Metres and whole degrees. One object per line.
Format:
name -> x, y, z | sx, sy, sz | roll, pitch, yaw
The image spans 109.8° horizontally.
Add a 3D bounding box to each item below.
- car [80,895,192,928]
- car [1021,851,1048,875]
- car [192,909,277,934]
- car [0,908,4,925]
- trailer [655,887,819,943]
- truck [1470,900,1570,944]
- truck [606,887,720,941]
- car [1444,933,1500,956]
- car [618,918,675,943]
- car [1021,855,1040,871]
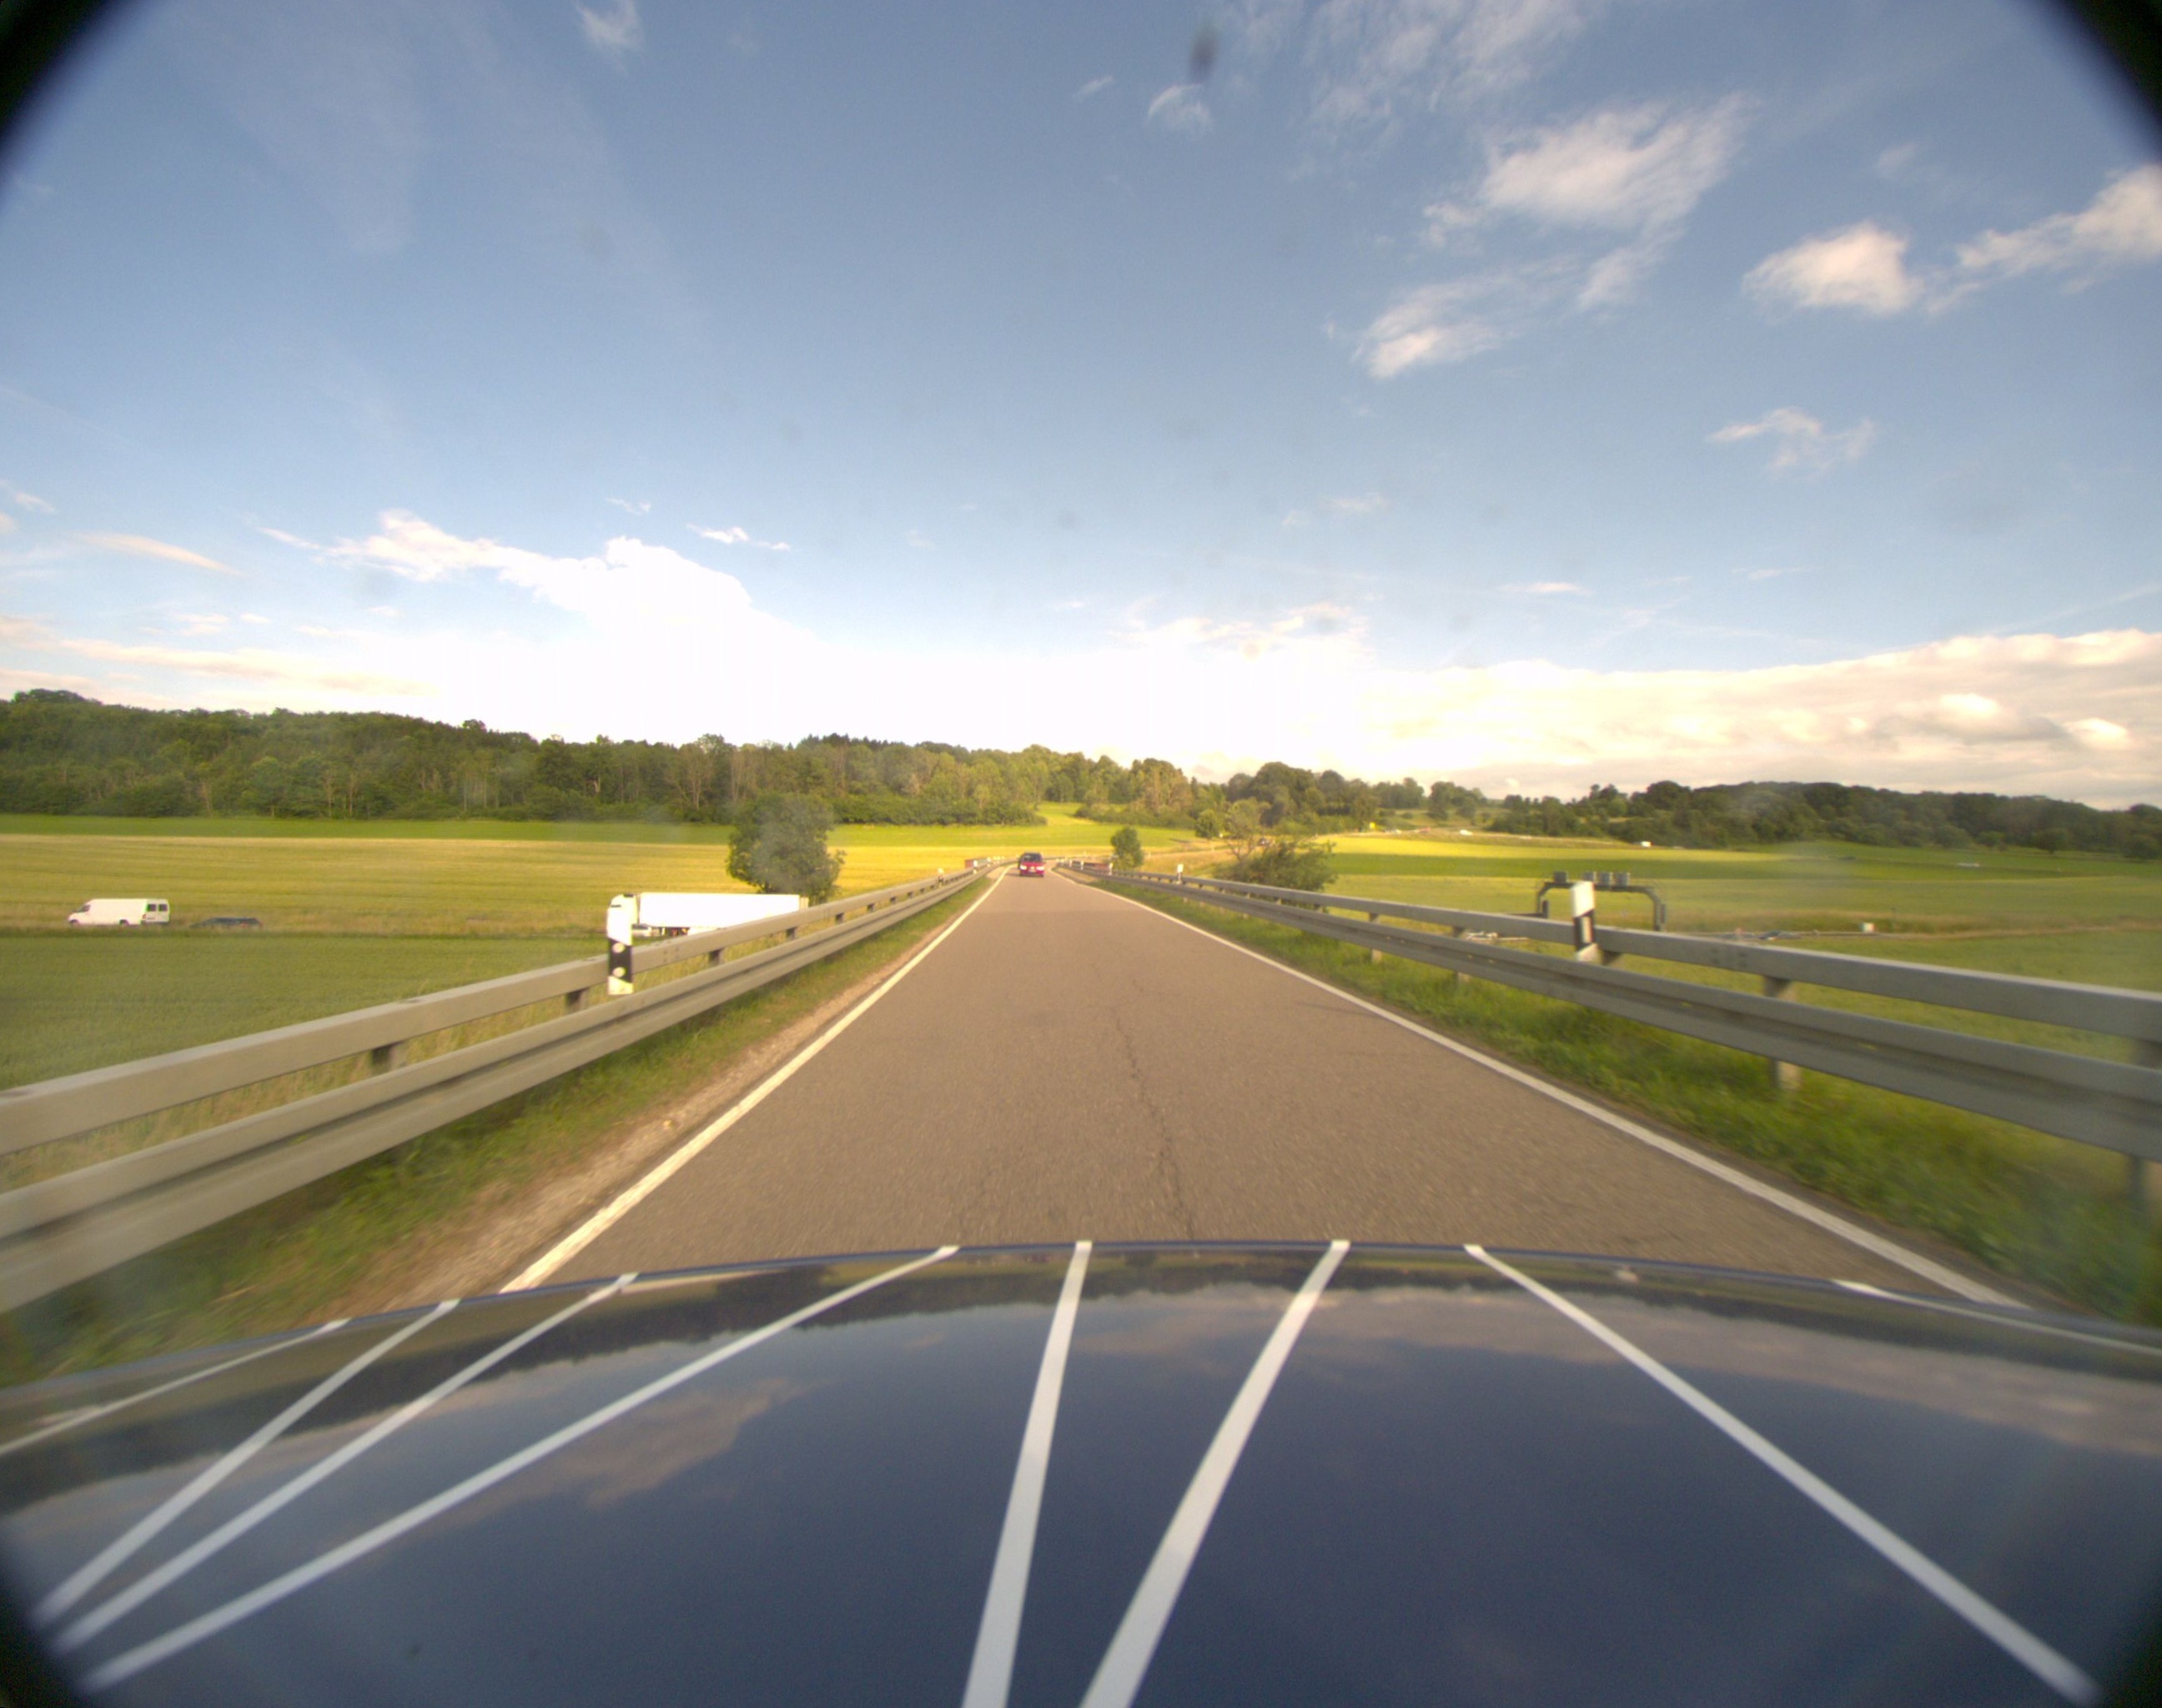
car -> -80.392, 4.884, 64.722 | 6.119, 2.568, 2.375 | 2, -4, -2
car -> -3.486, 0.654, 56.726 | 1.822, 1.645, 3.999 | 3, 0, -4
car -> -65.937, 5.238, 59.250 | 4.372, 1.692, 1.777 | 2, 2, -4
car -> -95.434, 5.379, 64.965 | 3.997, 1.460, 1.804 | 1, -2, -1
trailer -> -30.048, 5.326, 66.820 | 12.720, 4.440, 3.032 | 2, -2, -3
truck -> 41.740, 6.467, 72.308 | 8.495, 3.386, 2.122 | 4, 1, -7
truck -> -36.495, 5.192, 66.523 | 8.052, 4.440, 3.030 | 2, -2, -2
car -> 34.112, 7.910, 66.322 | 4.000, 1.640, 1.826 | 3, 1, -9
car -> -34.670, 6.117, 60.729 | 3.465, 1.634, 1.760 | -1, 4, -3
car -> -5.522, 0.980, 83.068 | 1.821, 1.601, 3.999 | 2, 0, -2
